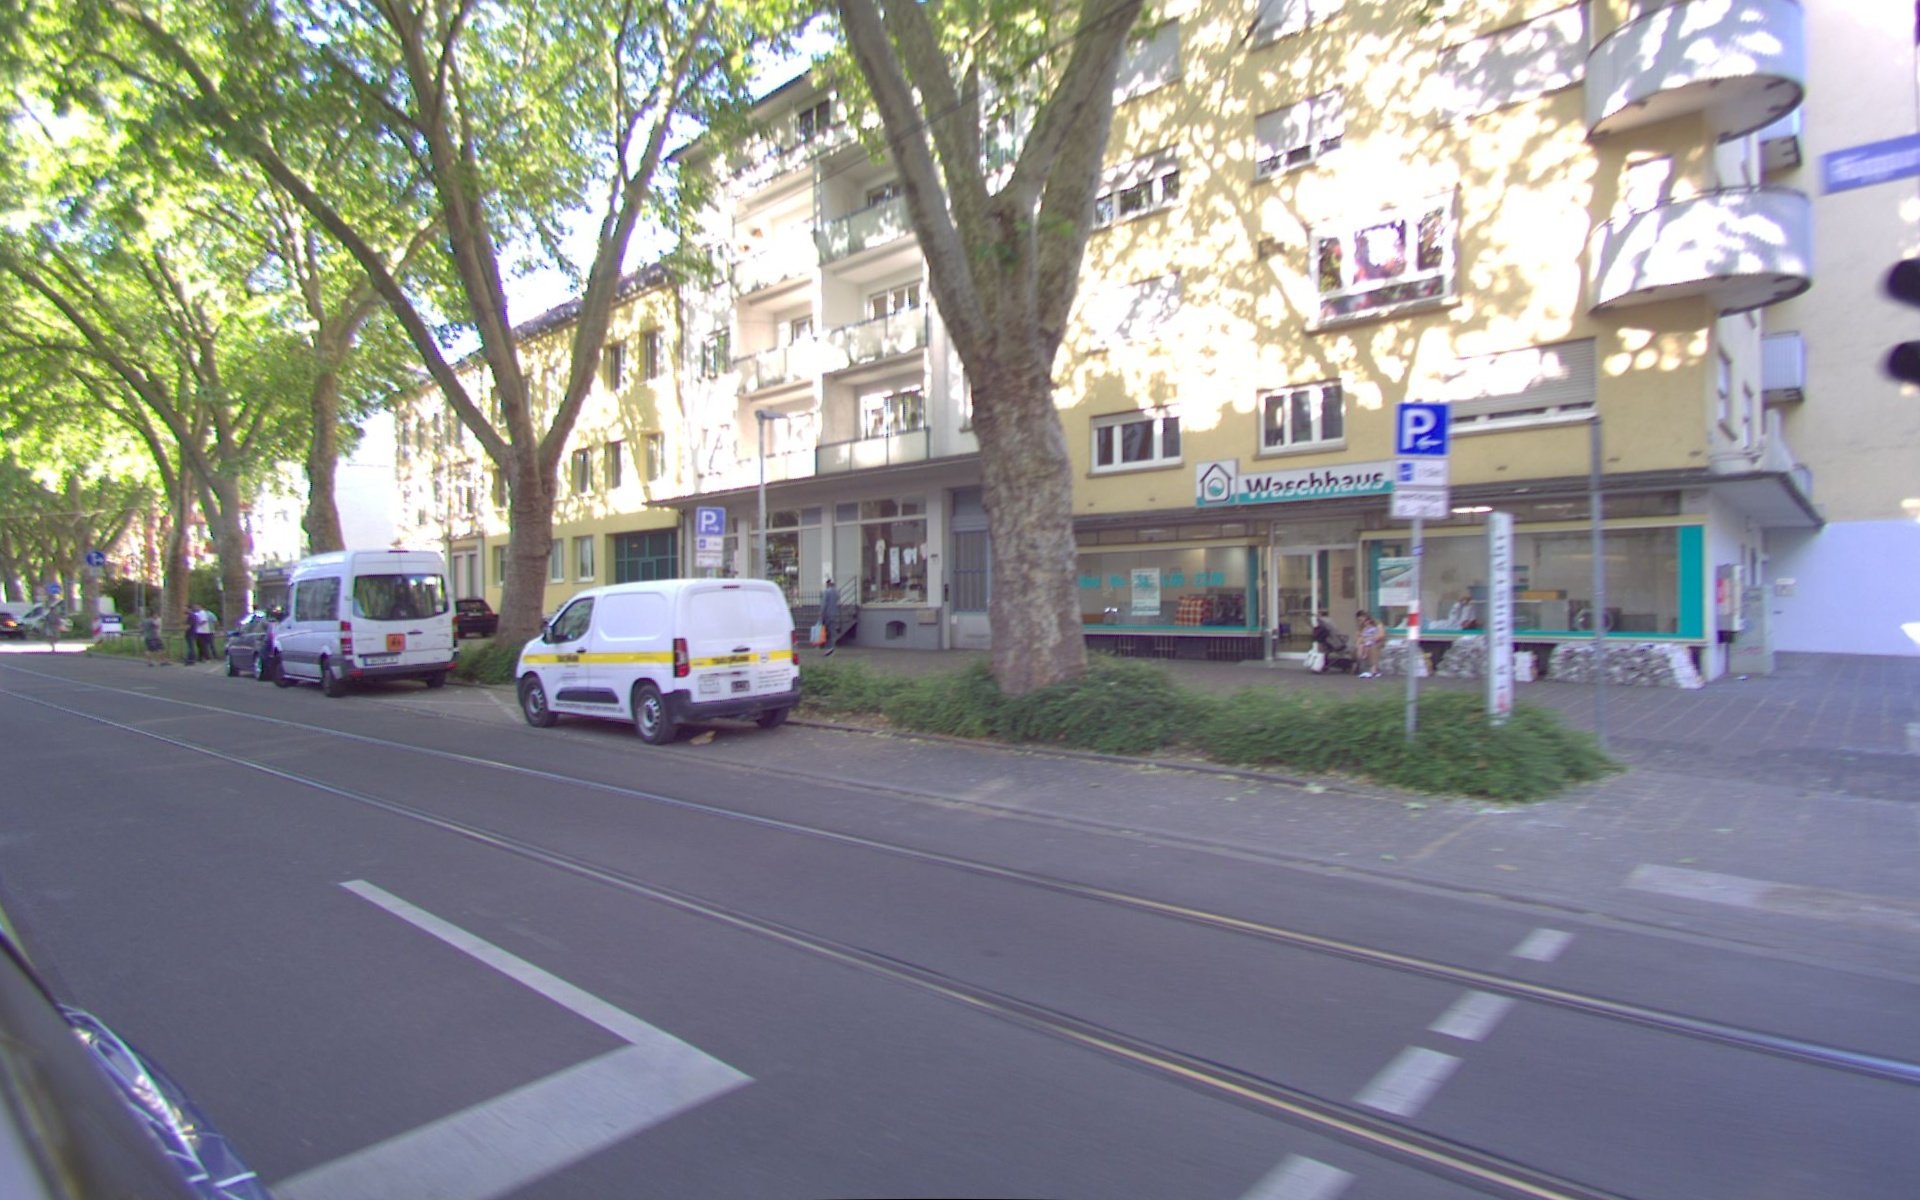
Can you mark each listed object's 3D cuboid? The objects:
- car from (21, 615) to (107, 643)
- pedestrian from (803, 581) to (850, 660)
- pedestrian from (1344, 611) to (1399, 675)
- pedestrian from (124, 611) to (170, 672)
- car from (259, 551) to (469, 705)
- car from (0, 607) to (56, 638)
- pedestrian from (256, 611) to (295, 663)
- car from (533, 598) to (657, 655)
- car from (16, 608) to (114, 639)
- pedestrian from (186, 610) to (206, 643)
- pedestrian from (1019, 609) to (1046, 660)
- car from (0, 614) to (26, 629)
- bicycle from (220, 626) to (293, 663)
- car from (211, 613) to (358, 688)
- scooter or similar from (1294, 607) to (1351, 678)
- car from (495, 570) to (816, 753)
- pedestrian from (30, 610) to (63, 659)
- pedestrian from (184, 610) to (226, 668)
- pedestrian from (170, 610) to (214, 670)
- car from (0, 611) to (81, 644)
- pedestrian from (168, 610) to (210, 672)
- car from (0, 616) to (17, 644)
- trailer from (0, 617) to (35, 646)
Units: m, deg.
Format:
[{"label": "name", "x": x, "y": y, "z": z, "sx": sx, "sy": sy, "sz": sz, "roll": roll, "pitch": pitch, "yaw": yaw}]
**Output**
[{"label": "car", "x": -57.633, "y": 1.858, "z": 65.134, "sx": 1.908, "sy": 1.622, "sz": 3.946, "roll": -4, "pitch": -1, "yaw": 41}, {"label": "pedestrian", "x": -3.281, "y": 0.491, "z": 24.909, "sx": 0.863, "sy": 1.883, "sz": 0.736, "roll": -1, "pitch": 0, "yaw": 41}, {"label": "pedestrian", "x": 7.098, "y": 0.722, "z": 17.448, "sx": 0.711, "sy": 1.055, "sz": 0.572, "roll": -1, "pitch": 0, "yaw": 42}, {"label": "pedestrian", "x": -24.078, "y": 1.222, "z": 29.988, "sx": 0.704, "sy": 1.748, "sz": 0.770, "roll": -1, "pitch": 0, "yaw": 3}, {"label": "car", "x": -11.843, "y": 0.470, "z": 19.863, "sx": 2.084, "sy": 2.597, "sz": 6.027, "roll": -1, "pitch": 1, "yaw": -45}, {"label": "car", "x": -82.421, "y": 1.989, "z": 88.721, "sx": 2.000, "sy": 2.552, "sz": 4.599, "roll": -1, "pitch": 1, "yaw": 43}, {"label": "pedestrian", "x": -21.710, "y": 1.159, "z": 32.093, "sx": 0.759, "sy": 1.622, "sz": 0.715, "roll": -1, "pitch": 0, "yaw": -6}, {"label": "car", "x": -12.451, "y": 0.856, "z": 34.344, "sx": 4.899, "sy": 1.746, "sz": 1.971, "roll": -1, "pitch": 1, "yaw": 44}, {"label": "car", "x": -64.847, "y": 1.671, "z": 73.416, "sx": 1.997, "sy": 2.010, "sz": 5.071, "roll": -1, "pitch": 1, "yaw": 38}, {"label": "pedestrian", "x": -43.208, "y": 1.491, "z": 57.232, "sx": 0.668, "sy": 1.793, "sz": 0.716, "roll": 0, "pitch": 1, "yaw": 33}, {"label": "pedestrian", "x": 1.626, "y": 0.772, "z": 22.740, "sx": 0.436, "sy": 1.114, "sz": 0.417, "roll": -1, "pitch": 0, "yaw": 33}, {"label": "car", "x": -104.483, "y": 2.351, "z": 110.119, "sx": 1.999, "sy": 1.478, "sz": 3.946, "roll": -1, "pitch": 1, "yaw": 41}, {"label": "bicycle", "x": -22.572, "y": 1.408, "z": 32.478, "sx": 1.820, "sy": 1.088, "sz": 0.571, "roll": -1, "pitch": 0, "yaw": -20}, {"label": "car", "x": -16.028, "y": 1.116, "z": 23.918, "sx": 4.283, "sy": 1.573, "sz": 1.896, "roll": -1, "pitch": 1, "yaw": 42}, {"label": "scooter or similar", "x": 6.280, "y": 0.722, "z": 17.548, "sx": 0.633, "sy": 1.176, "sz": 0.677, "roll": -1, "pitch": 0, "yaw": -21}, {"label": "car", "x": -3.854, "y": 0.630, "z": 12.405, "sx": 4.316, "sy": 1.864, "sz": 1.745, "roll": -1, "pitch": 1, "yaw": 41}, {"label": "pedestrian", "x": -34.683, "y": 1.306, "z": 38.430, "sx": 0.799, "sy": 1.805, "sz": 0.693, "roll": -1, "pitch": 0, "yaw": 30}, {"label": "pedestrian", "x": -23.255, "y": 1.196, "z": 31.175, "sx": 0.759, "sy": 1.748, "sz": 0.718, "roll": -1, "pitch": 0, "yaw": -6}, {"label": "pedestrian", "x": -23.177, "y": 1.200, "z": 30.546, "sx": 0.759, "sy": 1.748, "sz": 0.715, "roll": -1, "pitch": 0, "yaw": -6}, {"label": "car", "x": -71.565, "y": 2.101, "z": 78.734, "sx": 2.000, "sy": 2.323, "sz": 4.599, "roll": -1, "pitch": 1, "yaw": 43}, {"label": "pedestrian", "x": -22.642, "y": 1.189, "z": 29.742, "sx": 0.757, "sy": 1.790, "sz": 0.716, "roll": -1, "pitch": 0, "yaw": -17}, {"label": "car", "x": -61.060, "y": 1.874, "z": 63.785, "sx": 4.180, "sy": 1.696, "sz": 1.903, "roll": -1, "pitch": -3, "yaw": 41}, {"label": "trailer", "x": -56.946, "y": 1.828, "z": 59.928, "sx": 6.581, "sy": 1.644, "sz": 2.420, "roll": -1, "pitch": -3, "yaw": 41}]
